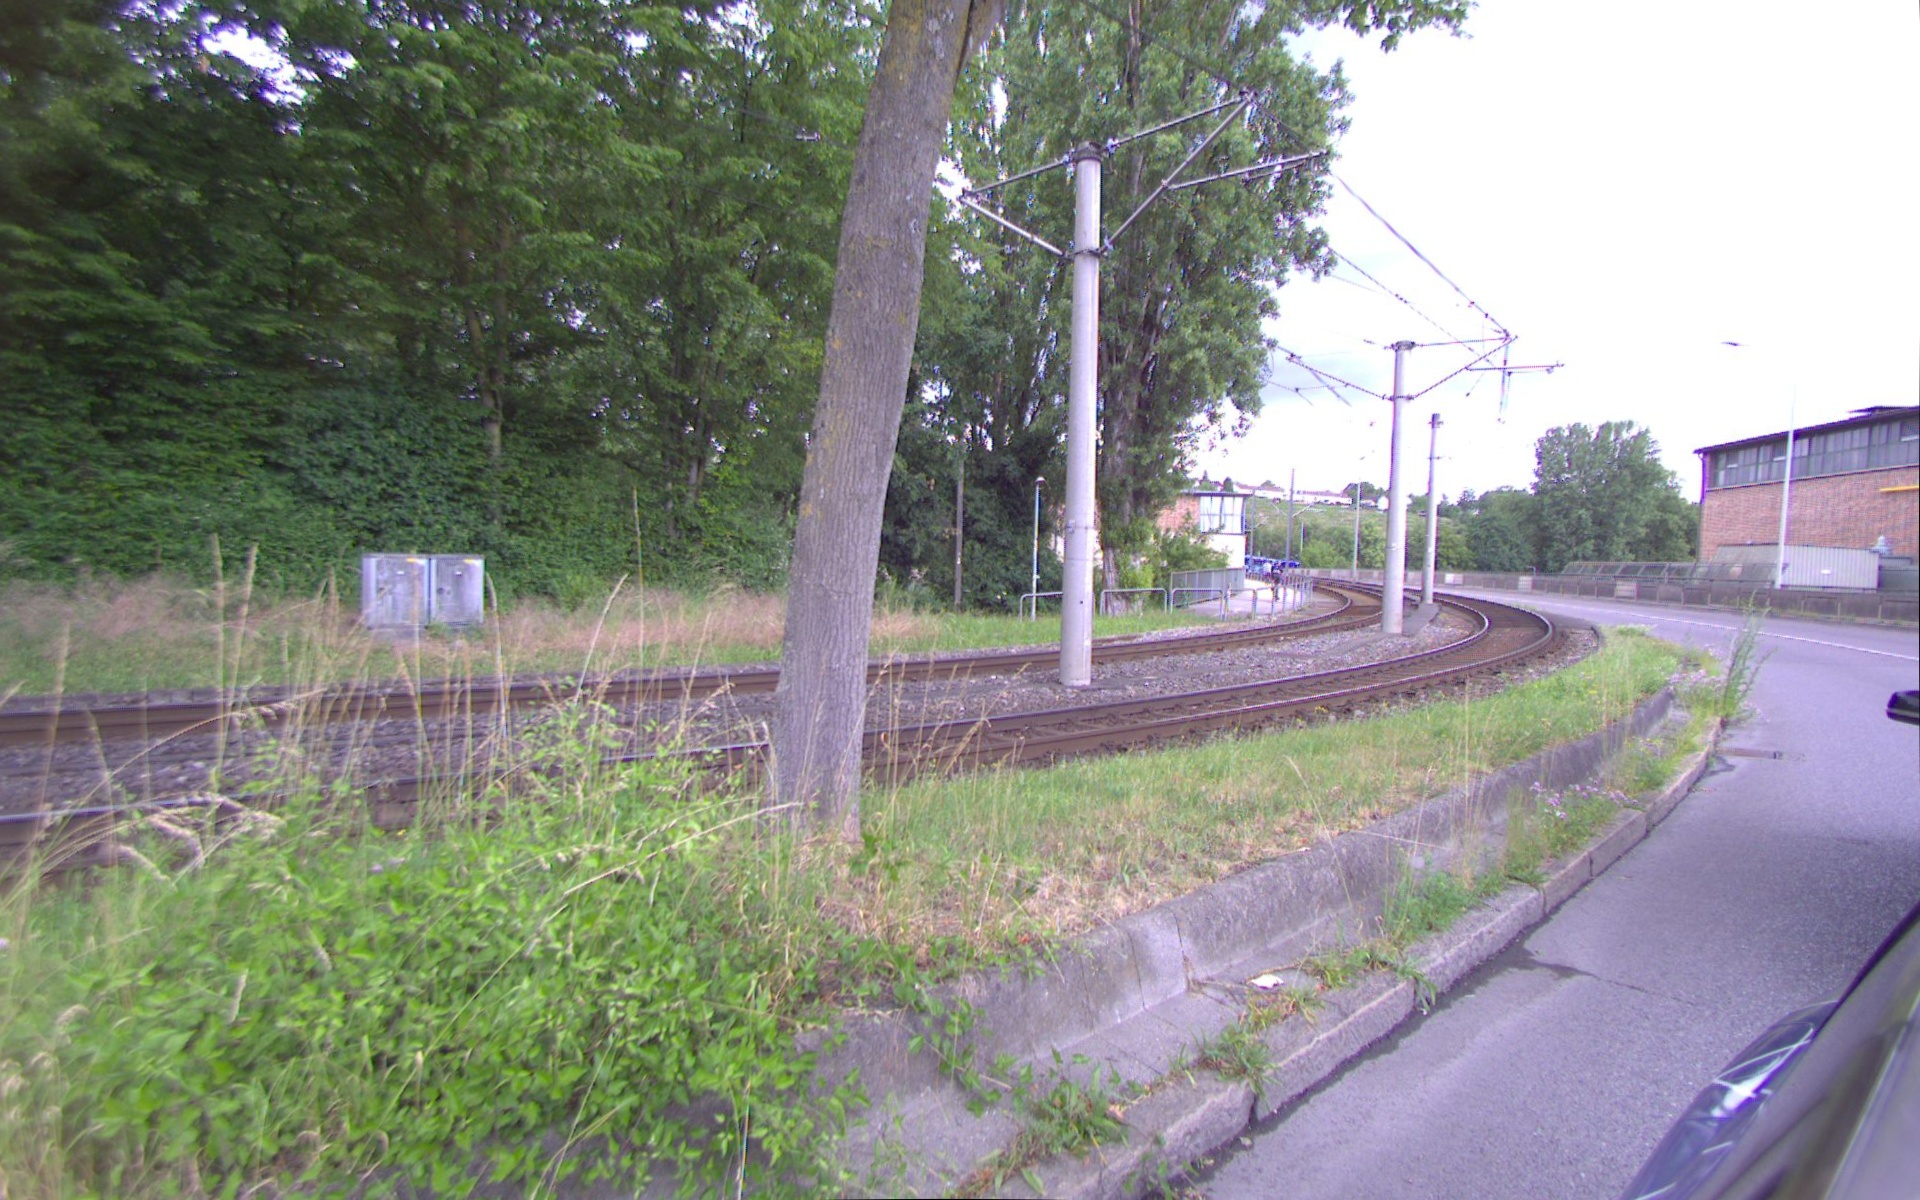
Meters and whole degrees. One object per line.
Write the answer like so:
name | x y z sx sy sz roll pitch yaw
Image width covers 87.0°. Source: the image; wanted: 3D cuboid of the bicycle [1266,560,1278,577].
bicycle | 20.283 -2.025 65.895 0.420 1.063 2.075 1 1 8

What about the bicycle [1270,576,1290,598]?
bicycle | 12.418 -0.504 39.284 0.345 0.804 1.529 2 2 33

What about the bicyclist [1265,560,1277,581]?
bicyclist | 20.240 -1.934 65.813 0.585 1.377 0.909 1 1 8

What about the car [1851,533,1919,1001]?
car | 5.331 0.582 4.291 3.932 1.641 1.859 -2 4 -42

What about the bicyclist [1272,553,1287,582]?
bicyclist | 12.402 -1.248 39.262 0.415 1.097 0.468 2 2 35
